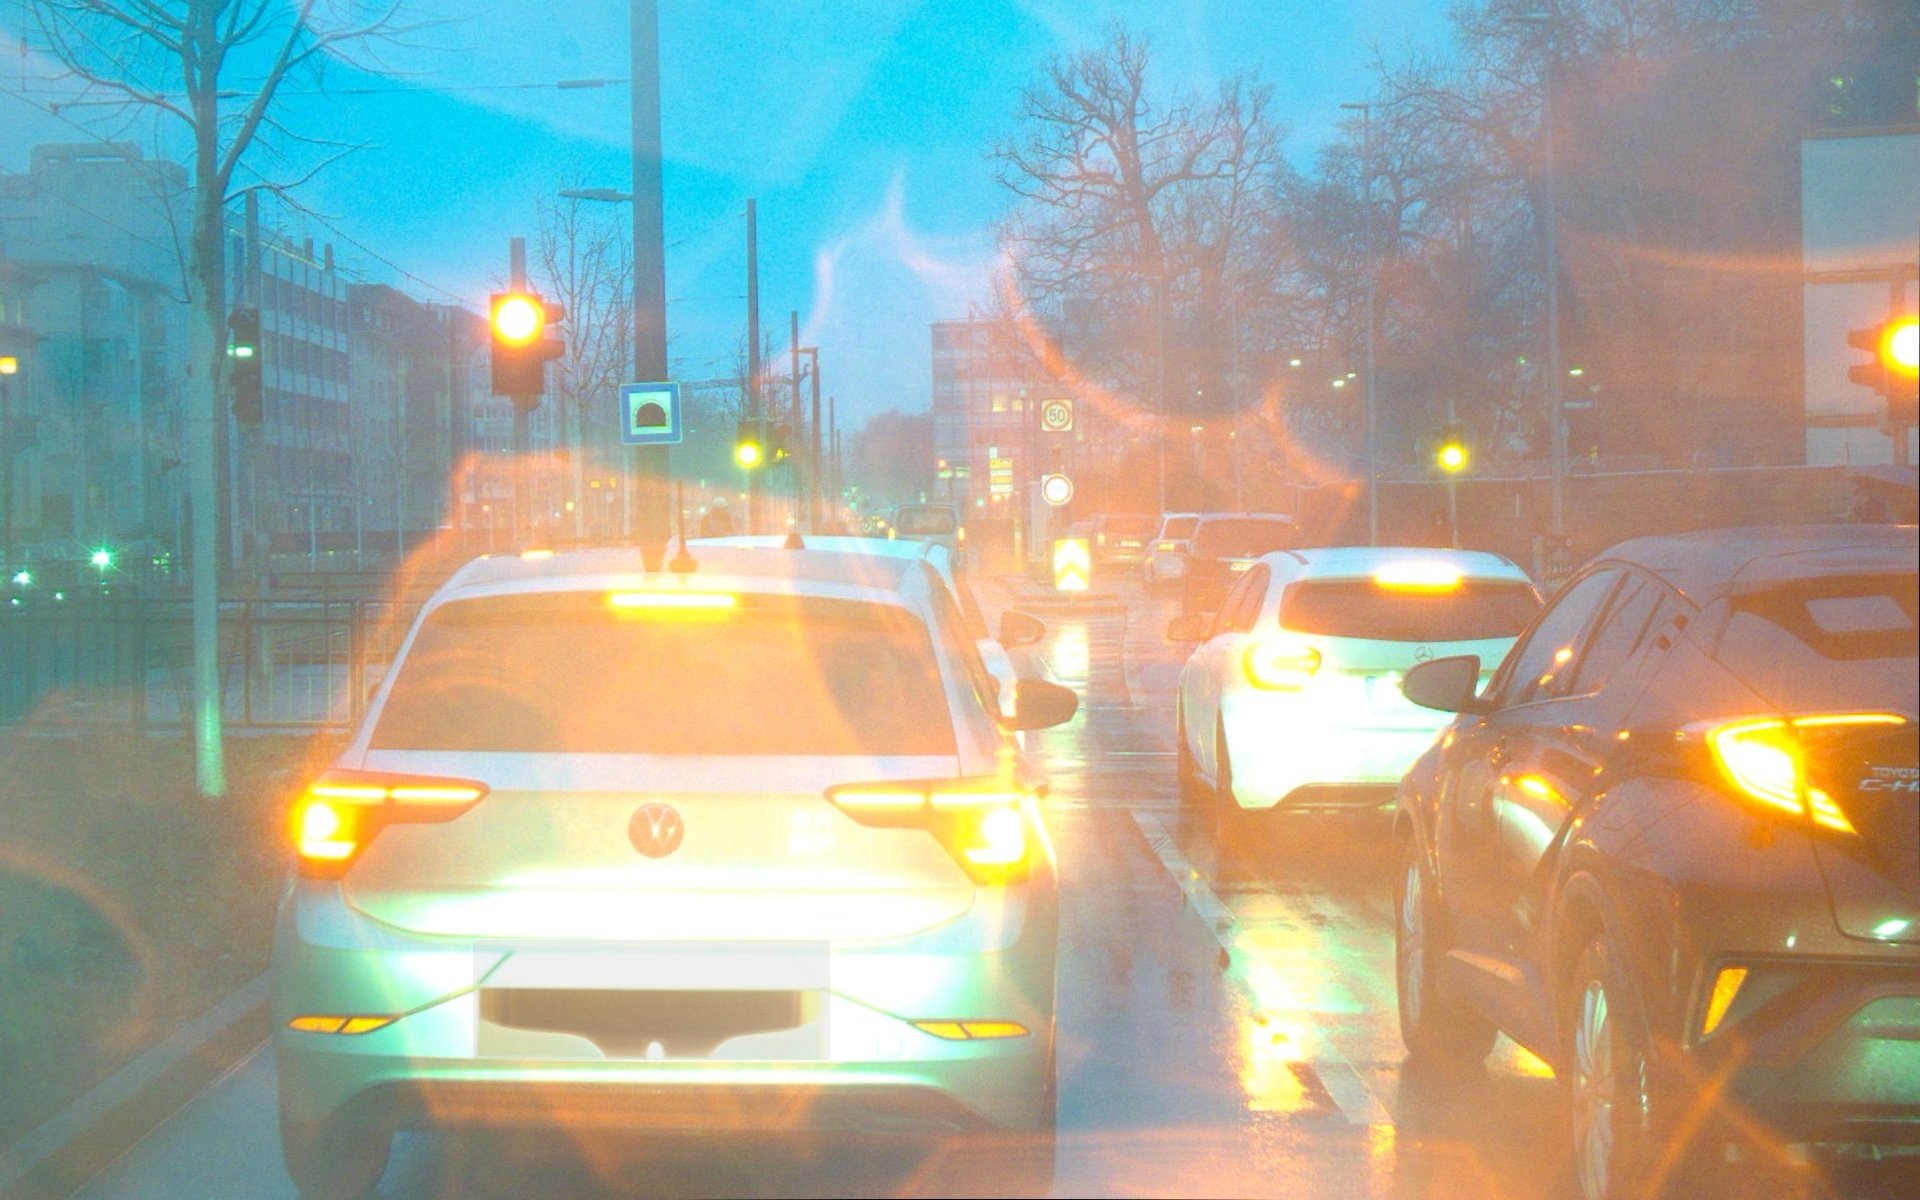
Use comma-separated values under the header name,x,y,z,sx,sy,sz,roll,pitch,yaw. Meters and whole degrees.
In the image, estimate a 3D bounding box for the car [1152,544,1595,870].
name,x,y,z,sx,sy,sz,roll,pitch,yaw
car,1.958,0.449,17.281,1.745,1.428,3.731,1,1,0

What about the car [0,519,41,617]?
name,x,y,z,sx,sy,sz,roll,pitch,yaw
car,-16.738,-0.553,57.025,1.993,1.597,4.000,1,1,-1

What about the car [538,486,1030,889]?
name,x,y,z,sx,sy,sz,roll,pitch,yaw
car,-0.666,0.266,15.032,1.799,1.461,4.586,-1,1,0

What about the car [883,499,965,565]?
name,x,y,z,sx,sy,sz,roll,pitch,yaw
car,-0.792,-1.528,76.513,1.737,1.415,4.394,-1,1,0

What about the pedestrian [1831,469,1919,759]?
name,x,y,z,sx,sy,sz,roll,pitch,yaw
pedestrian,6.707,0.083,24.269,0.959,2.007,1.007,-1,1,8

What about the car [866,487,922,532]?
name,x,y,z,sx,sy,sz,roll,pitch,yaw
car,-2.141,-2.946,112.251,1.737,1.415,3.804,-1,1,0

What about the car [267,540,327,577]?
name,x,y,z,sx,sy,sz,roll,pitch,yaw
car,-30.119,-1.895,156.178,1.950,1.597,4.000,1,1,0

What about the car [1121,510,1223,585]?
name,x,y,z,sx,sy,sz,roll,pitch,yaw
car,4.165,-1.058,67.842,1.737,1.415,3.703,-1,1,0

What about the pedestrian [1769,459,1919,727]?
name,x,y,z,sx,sy,sz,roll,pitch,yaw
pedestrian,6.932,-0.068,26.441,0.958,2.007,1.008,-1,1,-23

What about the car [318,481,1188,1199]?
name,x,y,z,sx,sy,sz,roll,pitch,yaw
car,-0.507,0.486,8.738,1.693,1.528,4.001,0,1,-3

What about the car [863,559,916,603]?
name,x,y,z,sx,sy,sz,roll,pitch,yaw
car,-2.413,-0.663,118.278,1.737,1.415,3.804,-1,1,0

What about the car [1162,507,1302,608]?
name,x,y,z,sx,sy,sz,roll,pitch,yaw
car,3.986,-0.656,50.823,1.737,1.415,3.703,-1,1,0

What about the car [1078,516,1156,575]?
name,x,y,z,sx,sy,sz,roll,pitch,yaw
car,3.942,-1.392,86.712,1.737,1.415,4.146,-1,1,0

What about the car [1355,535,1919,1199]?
name,x,y,z,sx,sy,sz,roll,pitch,yaw
car,2.087,0.608,8.209,1.800,1.505,3.895,-1,1,0

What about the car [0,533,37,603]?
name,x,y,z,sx,sy,sz,roll,pitch,yaw
car,-22.624,-0.733,78.802,1.867,1.571,4.000,-1,1,-1
